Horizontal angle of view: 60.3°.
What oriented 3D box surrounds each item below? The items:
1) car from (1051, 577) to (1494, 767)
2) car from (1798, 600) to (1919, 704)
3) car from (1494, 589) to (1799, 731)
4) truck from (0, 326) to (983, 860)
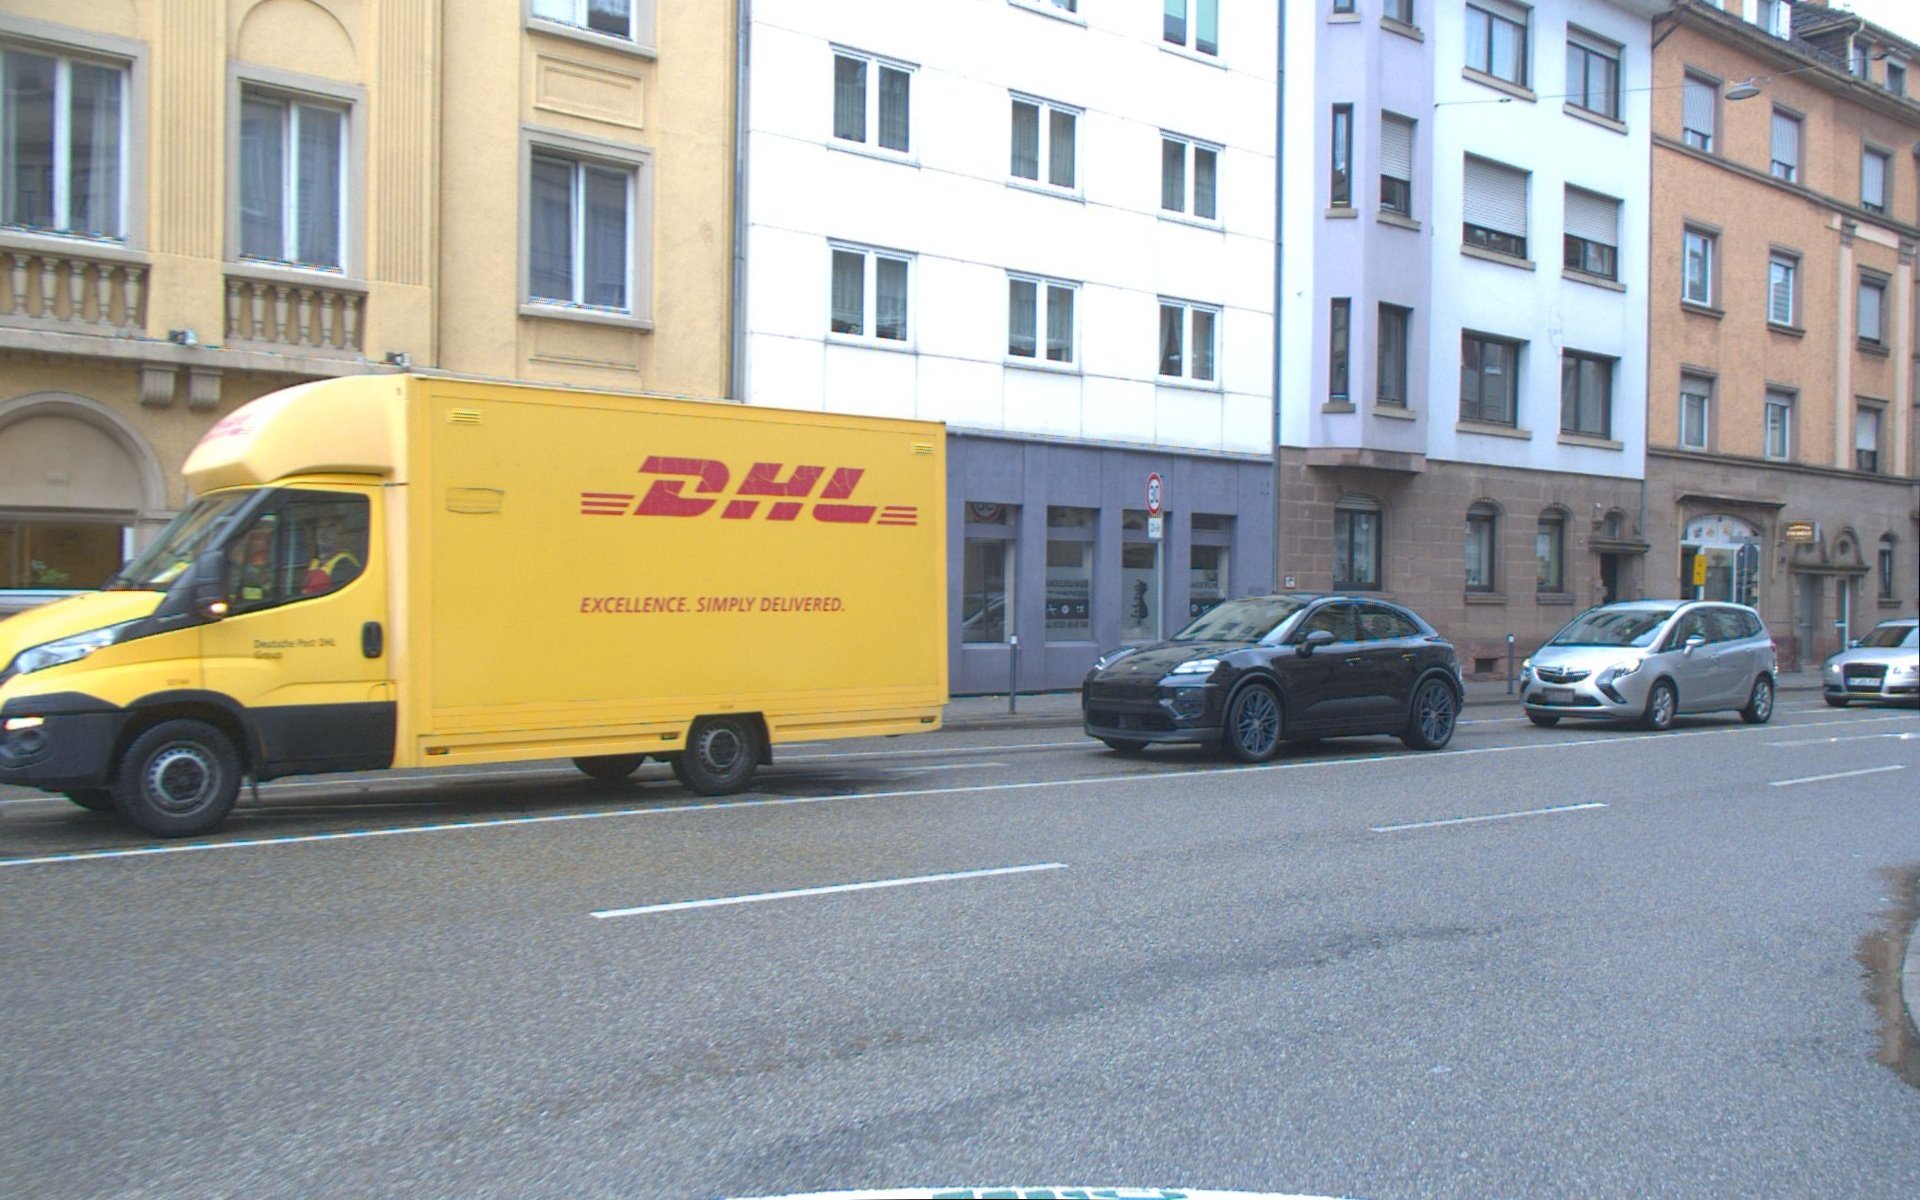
[{"bbox_3d":[3.363,0.668,17.236,4.780,1.714,1.971,1,0,-40],"label":"car"},{"bbox_3d":[16.084,0.834,27.937,4.192,1.600,1.923,1,0,-39],"label":"car"},{"bbox_3d":[9.265,0.746,22.193,4.367,1.714,1.923,1,0,-38],"label":"car"},{"bbox_3d":[-3.151,-0.002,12.040,7.047,2.901,2.053,1,-1,-40],"label":"truck"}]
